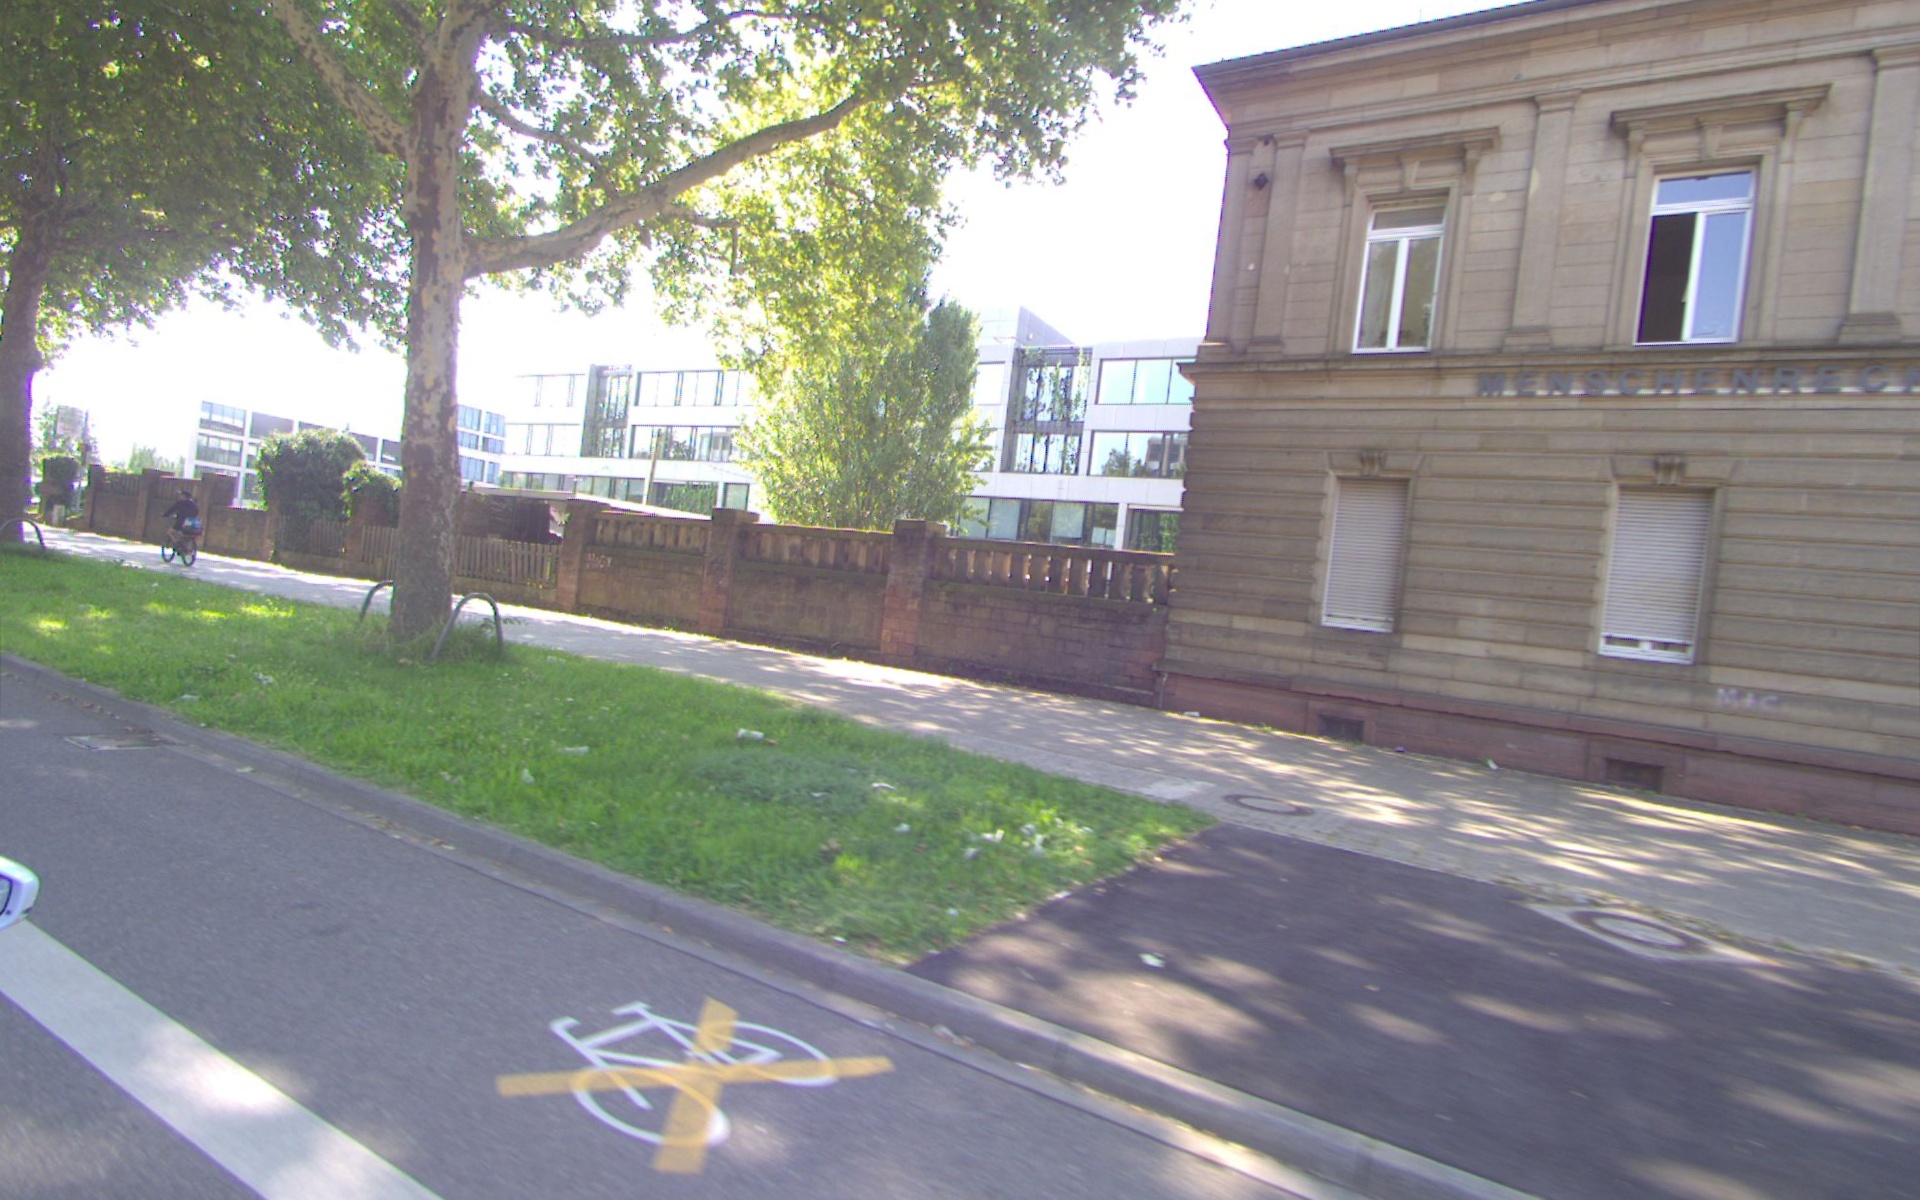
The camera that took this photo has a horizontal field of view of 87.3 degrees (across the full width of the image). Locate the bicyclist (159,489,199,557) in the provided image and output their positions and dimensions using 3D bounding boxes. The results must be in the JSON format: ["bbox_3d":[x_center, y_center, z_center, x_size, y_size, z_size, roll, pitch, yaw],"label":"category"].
[{"bbox_3d":[-18.988,-1.875,24.456,0.586,1.559,0.470,7,1,28],"label":"bicyclist"}]

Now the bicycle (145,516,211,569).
[{"bbox_3d":[-19.014,-1.407,24.455,1.825,1.102,0.492,7,1,28],"label":"bicycle"}]
